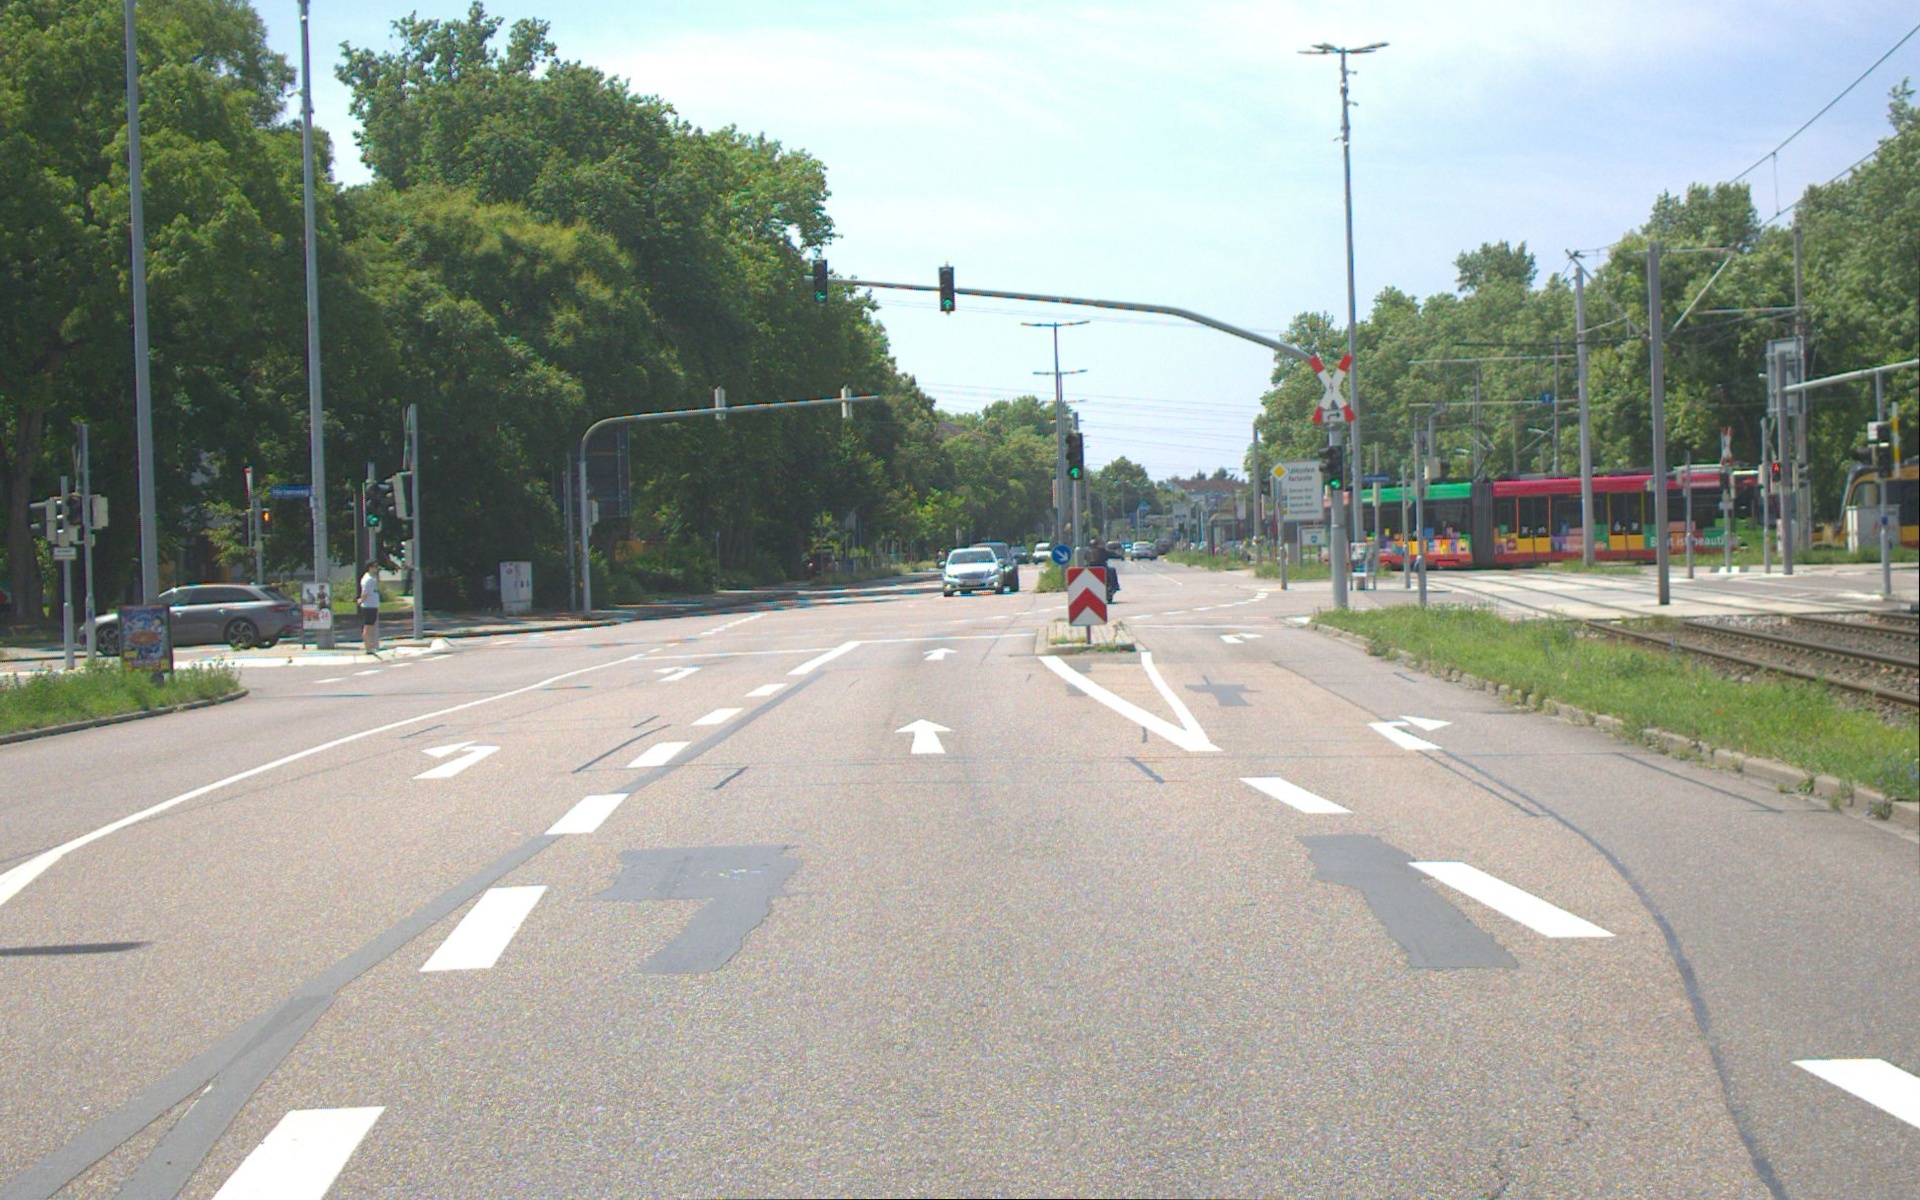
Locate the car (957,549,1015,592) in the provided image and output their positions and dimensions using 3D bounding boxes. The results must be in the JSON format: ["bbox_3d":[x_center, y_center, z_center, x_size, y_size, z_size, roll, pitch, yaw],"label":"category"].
[{"bbox_3d":[0.876,-0.979,114.147,1.711,1.361,3.865,-2,1,3],"label":"car"}]

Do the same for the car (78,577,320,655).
[{"bbox_3d":[-16.121,0.325,72.953,4.615,1.494,1.912,-2,1,4],"label":"car"}]

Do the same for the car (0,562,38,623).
[{"bbox_3d":[-29.483,-0.172,100.558,1.790,1.762,4.538,-1,1,43],"label":"car"}]

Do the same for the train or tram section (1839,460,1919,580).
[{"bbox_3d":[37.307,-2.854,117.257,14.008,3.906,2.921,-1,-2,18],"label":"train or tram section"}]

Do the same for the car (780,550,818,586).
[{"bbox_3d":[-9.271,-1.844,197.762,1.993,2.007,4.000,1,0,-1],"label":"car"}]

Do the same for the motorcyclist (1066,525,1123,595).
[{"bbox_3d":[3.176,-0.954,81.077,0.791,1.637,1.208,0,1,37],"label":"motorcyclist"}]

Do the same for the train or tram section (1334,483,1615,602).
[{"bbox_3d":[19.424,-2.082,131.095,2.914,3.799,13.073,1,-2,-31],"label":"train or tram section"}]

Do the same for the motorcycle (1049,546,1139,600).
[{"bbox_3d":[3.162,-0.648,81.009,0.849,1.251,2.444,0,1,37],"label":"motorcycle"}]

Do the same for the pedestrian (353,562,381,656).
[{"bbox_3d":[-10.705,0.153,62.100,0.382,1.681,0.486,-2,1,-1],"label":"pedestrian"}]

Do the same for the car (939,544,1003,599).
[{"bbox_3d":[0.356,-0.885,106.603,1.784,1.623,3.865,-2,1,3],"label":"car"}]

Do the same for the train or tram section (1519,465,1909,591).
[{"bbox_3d":[26.685,-2.480,122.374,13.439,3.799,2.917,-2,-3,36],"label":"train or tram section"}]
